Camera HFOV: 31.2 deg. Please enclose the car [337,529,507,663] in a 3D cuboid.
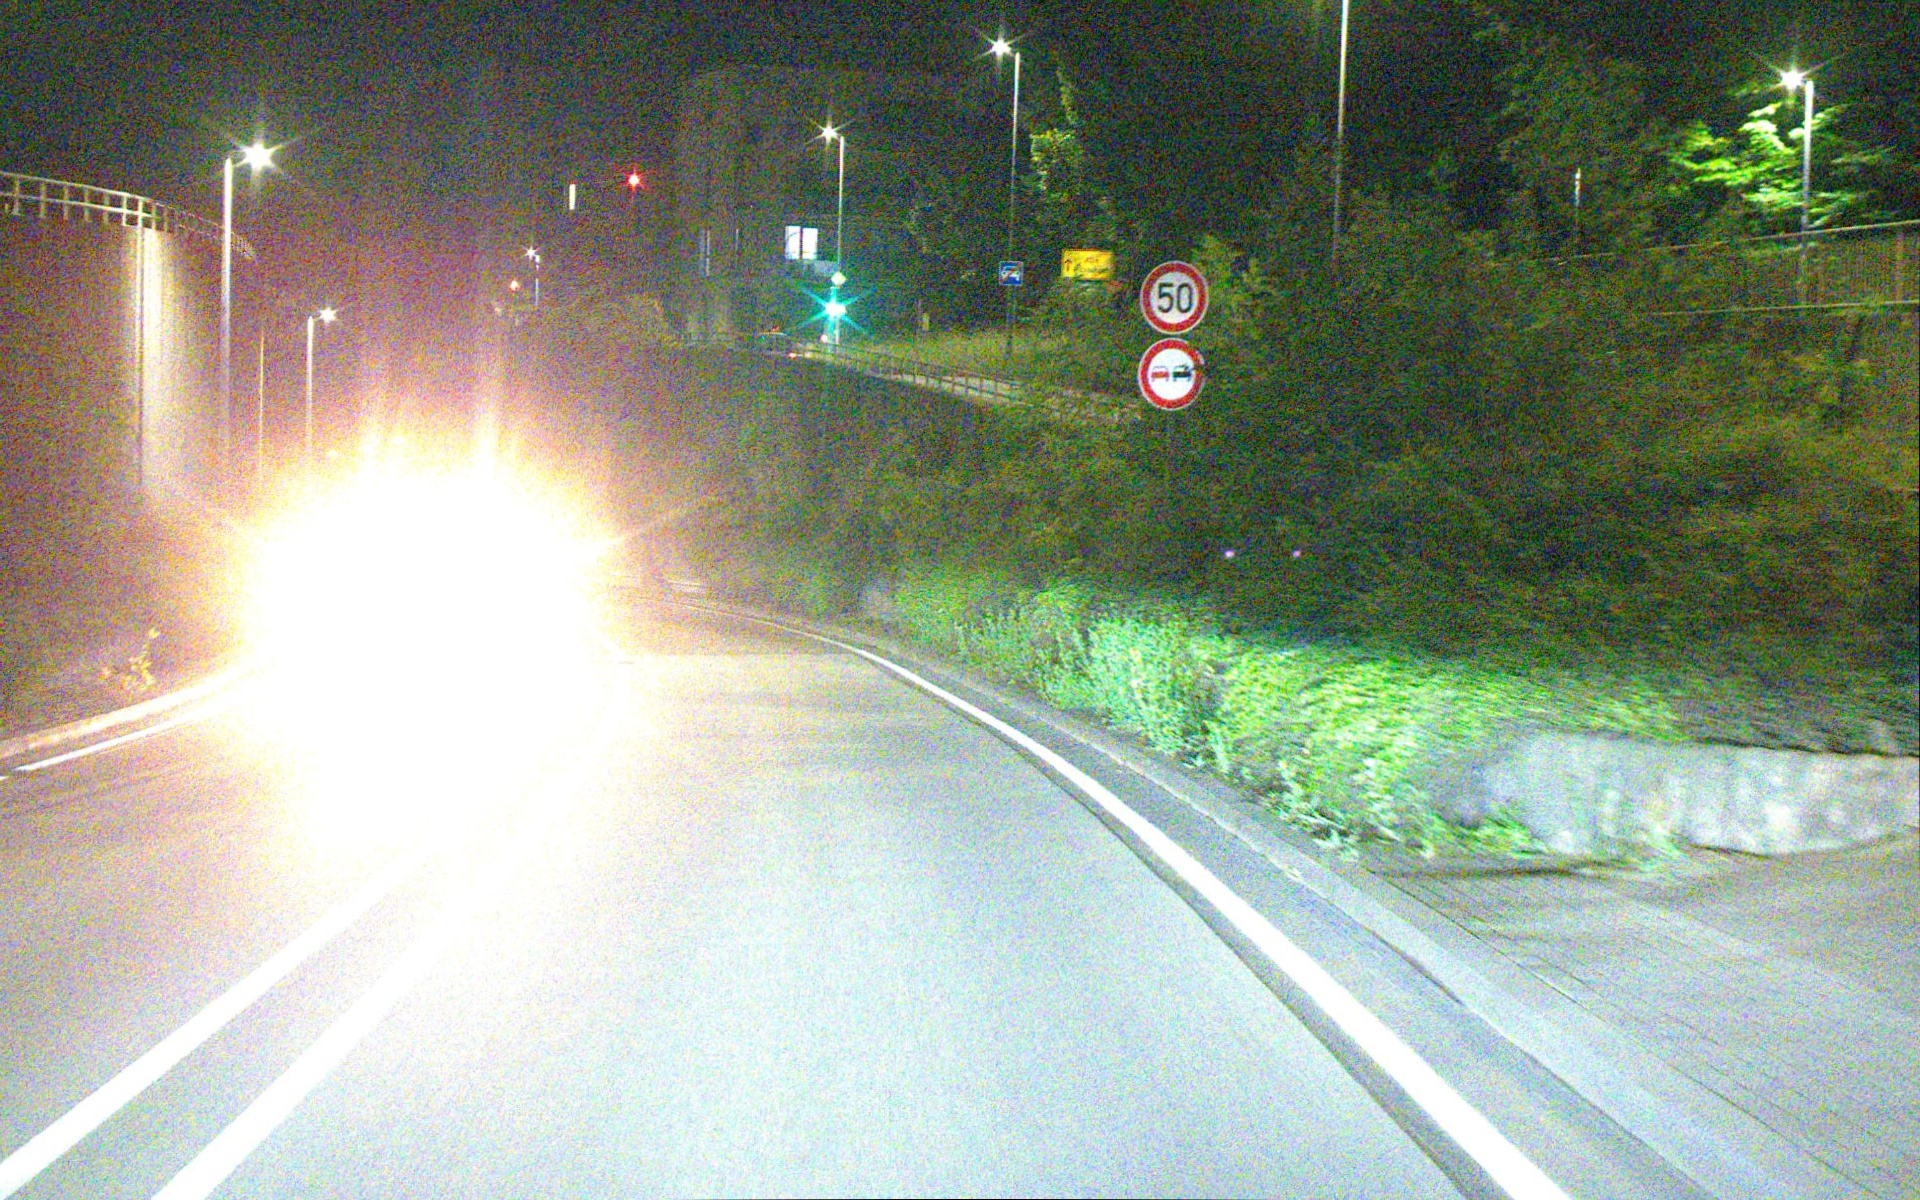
[{"bbox_3d":[-6.323,-0.077,40.767,1.858,1.505,4.001,0,1,-7],"label":"car"}]
